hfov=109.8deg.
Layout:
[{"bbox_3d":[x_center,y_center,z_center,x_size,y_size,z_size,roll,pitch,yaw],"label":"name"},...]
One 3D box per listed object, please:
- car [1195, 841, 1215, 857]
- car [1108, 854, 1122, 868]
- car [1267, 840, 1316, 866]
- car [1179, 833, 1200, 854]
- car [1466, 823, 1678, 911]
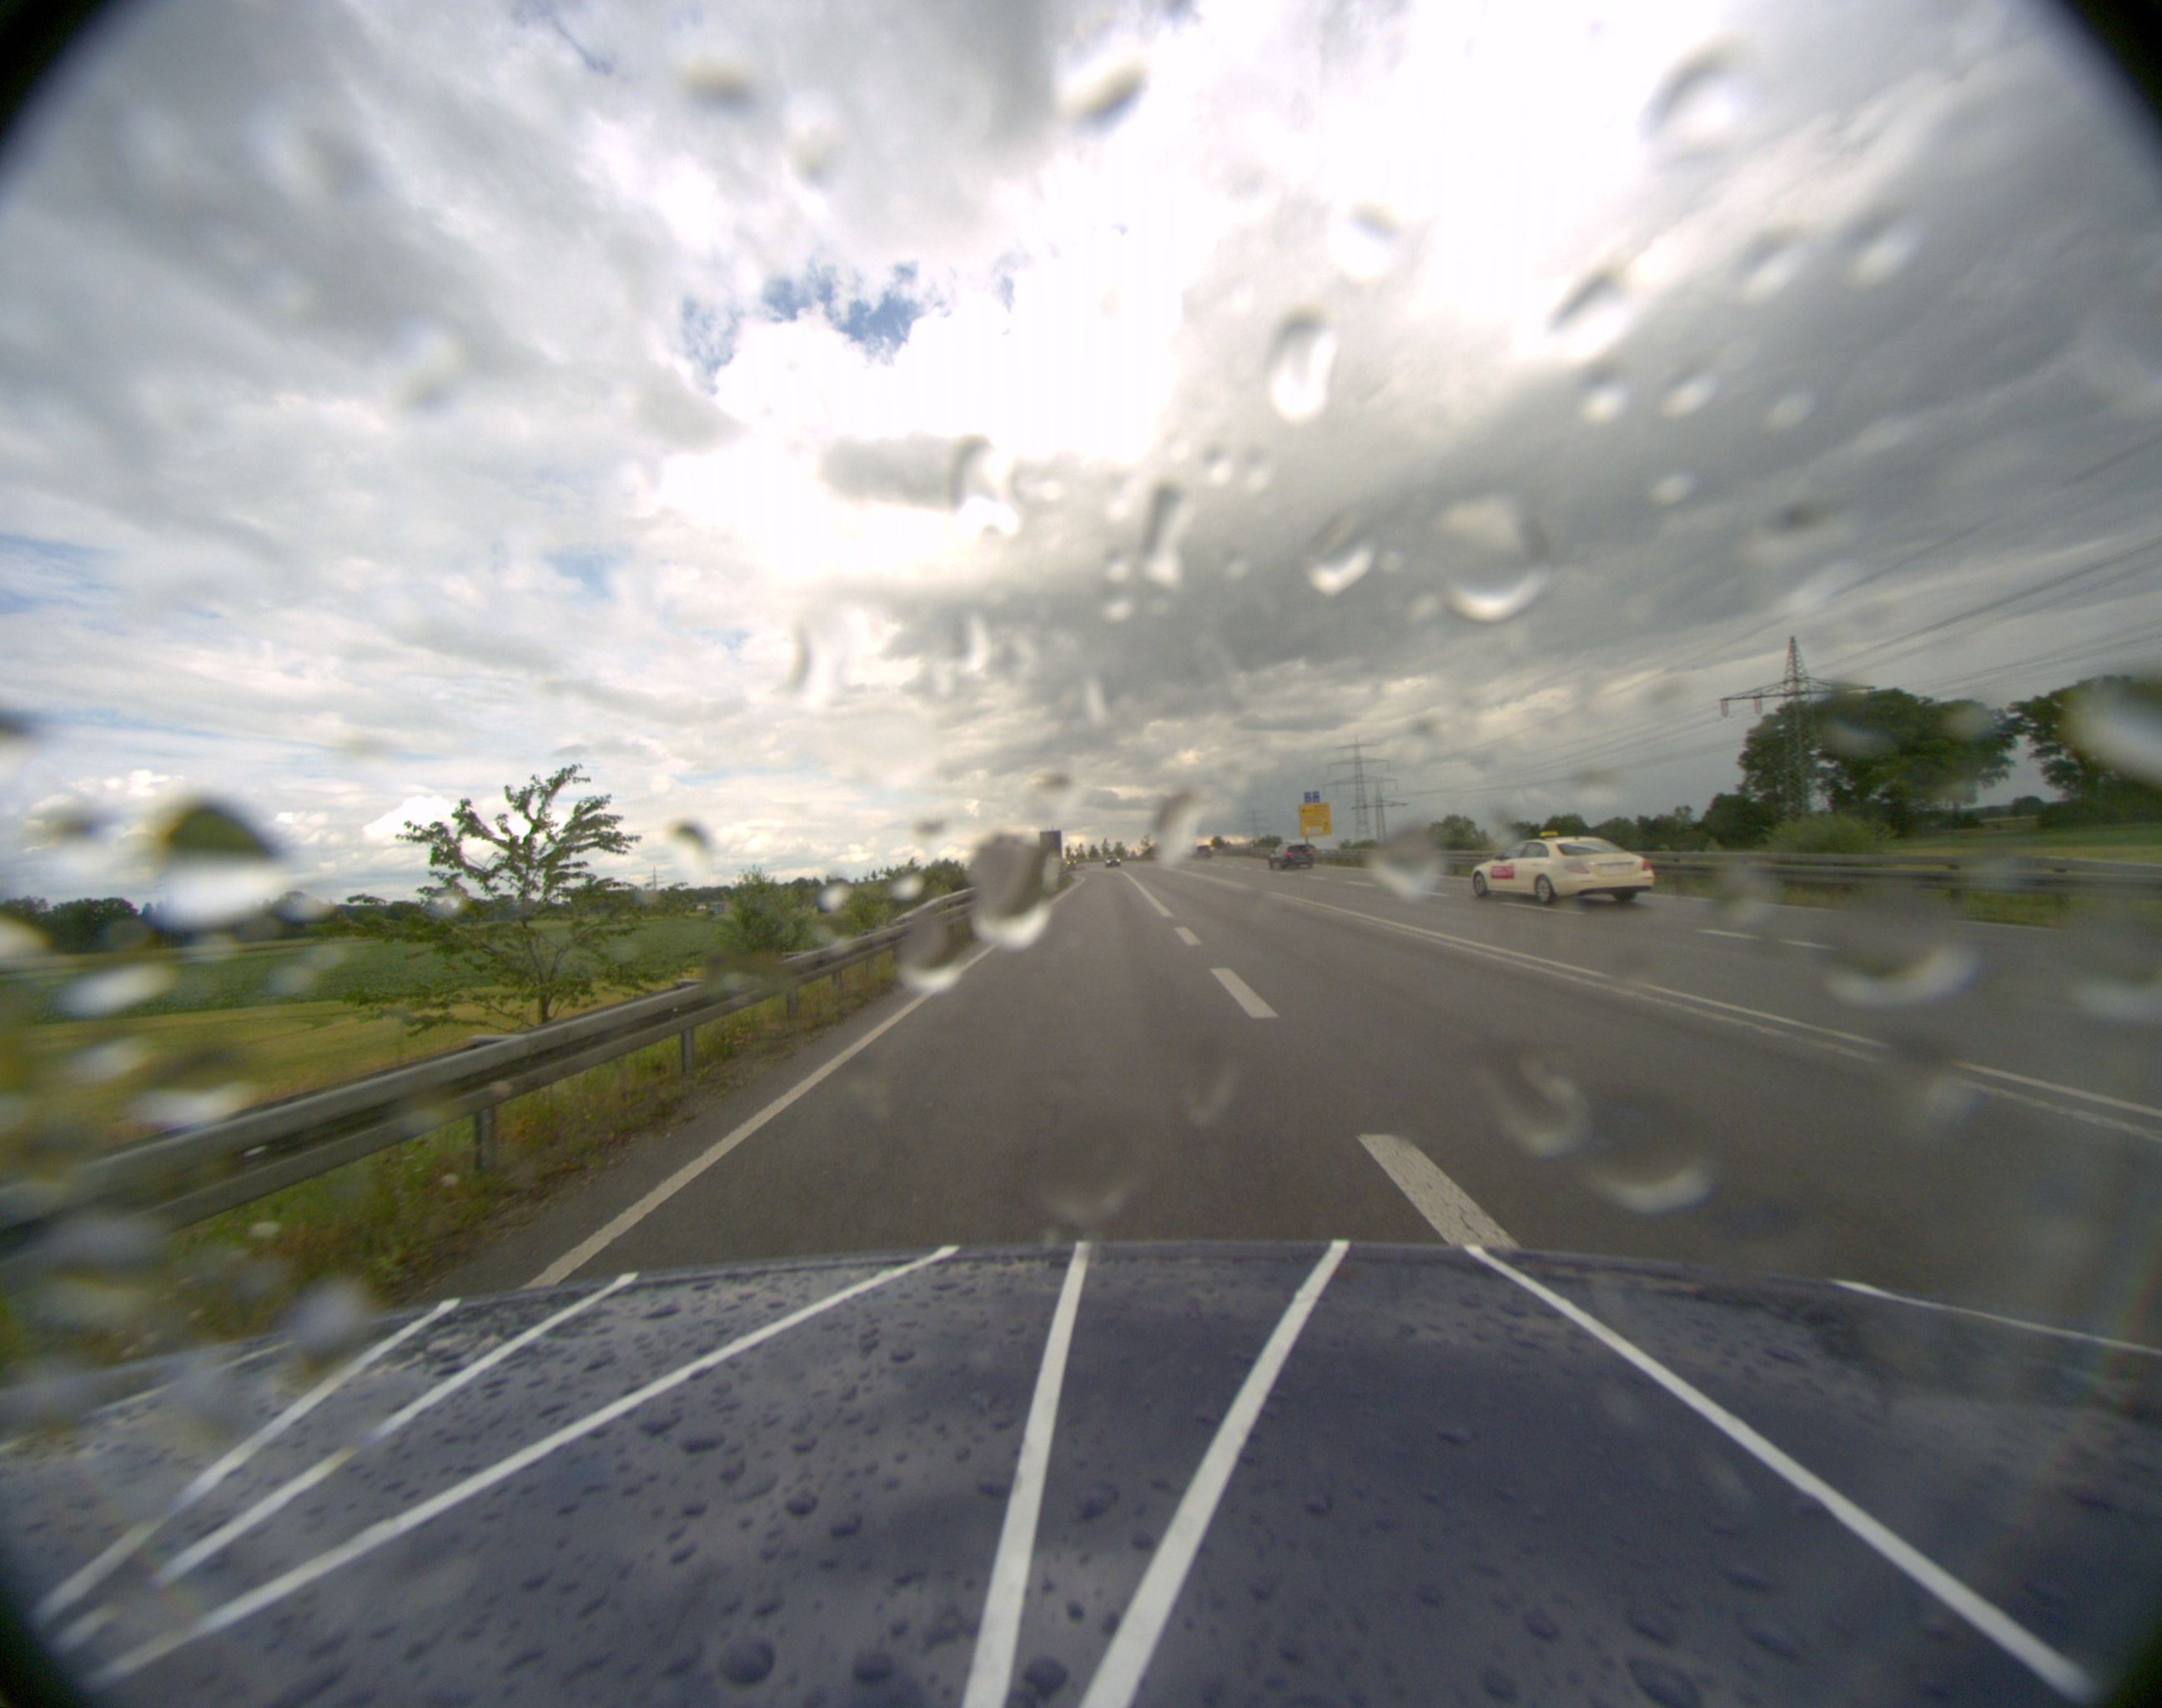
[{"bbox_3d":[14.035,-0.593,85.971,1.711,1.600,4.637,-5,0,4],"label":"car"},{"bbox_3d":[4.703,0.967,103.733,1.795,1.758,4.002,-3,-2,3],"label":"car"},{"bbox_3d":[12.552,-0.071,45.664,1.774,1.418,4.735,-3,0,3],"label":"car"},{"bbox_3d":[15.306,-1.481,107.309,1.975,2.639,5.459,-5,0,1],"label":"car"},{"bbox_3d":[11.002,0.251,17.542,1.948,1.650,4.646,-3,0,2],"label":"car"}]
